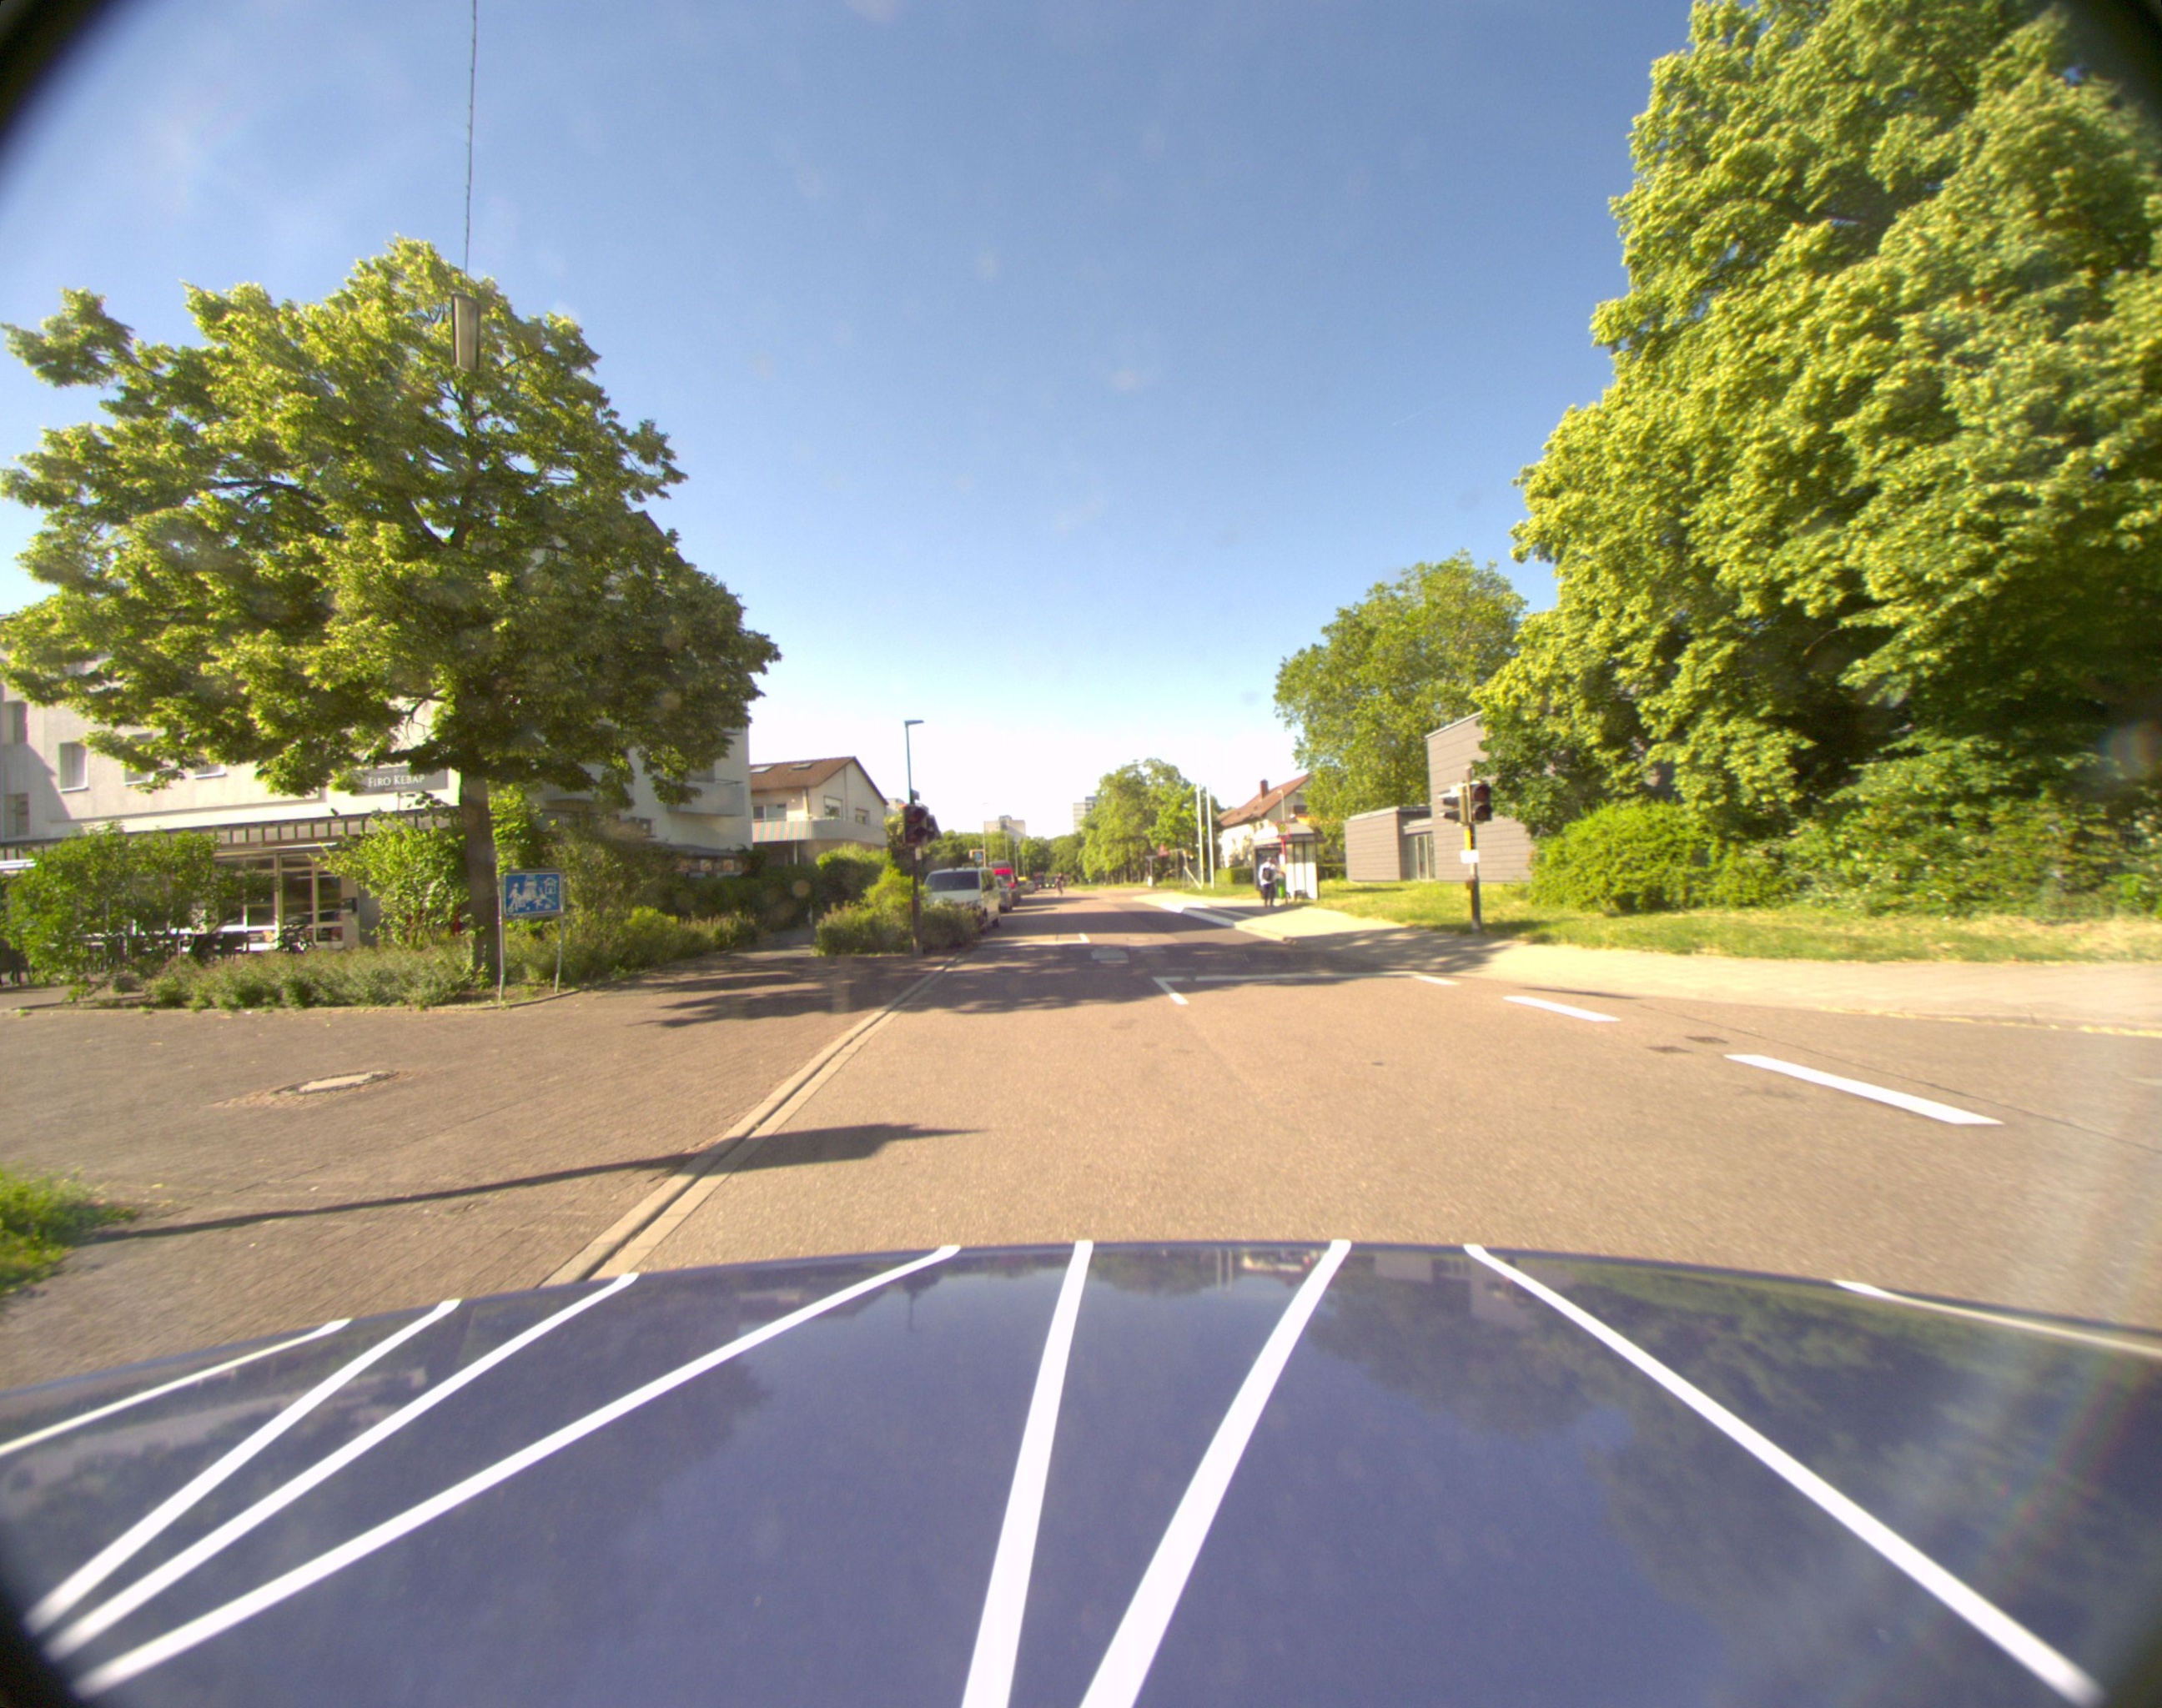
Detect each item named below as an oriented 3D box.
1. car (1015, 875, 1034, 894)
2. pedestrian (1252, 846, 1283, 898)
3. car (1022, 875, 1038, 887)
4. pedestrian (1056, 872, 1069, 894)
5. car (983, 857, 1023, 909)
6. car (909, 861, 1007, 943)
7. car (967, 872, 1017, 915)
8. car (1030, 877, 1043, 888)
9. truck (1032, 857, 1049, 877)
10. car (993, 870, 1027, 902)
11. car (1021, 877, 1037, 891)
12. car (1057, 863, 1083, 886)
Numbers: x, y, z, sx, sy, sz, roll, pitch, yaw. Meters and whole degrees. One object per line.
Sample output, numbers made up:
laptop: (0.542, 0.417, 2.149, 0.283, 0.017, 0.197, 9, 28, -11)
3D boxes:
car: (-5.675, 3.022, 76.579, 1.621, 1.765, 3.981, -4, -1, -2)
pedestrian: (6.825, 0.649, 27.775, 0.716, 1.793, 0.772, -4, 2, 38)
car: (-7.030, 3.726, 105.526, 1.999, 1.587, 4.578, -4, -1, -3)
pedestrian: (-1.366, 2.160, 56.452, 0.835, 1.578, 0.632, 0, 2, 15)
car: (-4.352, 1.561, 42.933, 1.963, 2.628, 5.221, -4, -1, -5)
car: (-3.593, 1.332, 23.137, 1.998, 2.067, 4.578, -4, 0, 2)
car: (-4.148, 1.804, 35.980, 1.962, 1.727, 4.575, -4, 0, -3)
car: (-7.737, 4.917, 132.117, 1.998, 1.587, 4.578, -3, -1, 0)
truck: (-9.936, 3.166, 187.020, 3.602, 4.543, 10.023, -3, -1, -2)
car: (-4.627, 2.078, 50.159, 1.862, 1.837, 4.559, -5, -1, -3)
car: (-6.055, 3.470, 88.208, 1.621, 1.478, 3.981, -4, -1, -2)
car: (-1.057, 1.907, 71.142, 1.966, 1.908, 4.575, -4, 0, -6)
